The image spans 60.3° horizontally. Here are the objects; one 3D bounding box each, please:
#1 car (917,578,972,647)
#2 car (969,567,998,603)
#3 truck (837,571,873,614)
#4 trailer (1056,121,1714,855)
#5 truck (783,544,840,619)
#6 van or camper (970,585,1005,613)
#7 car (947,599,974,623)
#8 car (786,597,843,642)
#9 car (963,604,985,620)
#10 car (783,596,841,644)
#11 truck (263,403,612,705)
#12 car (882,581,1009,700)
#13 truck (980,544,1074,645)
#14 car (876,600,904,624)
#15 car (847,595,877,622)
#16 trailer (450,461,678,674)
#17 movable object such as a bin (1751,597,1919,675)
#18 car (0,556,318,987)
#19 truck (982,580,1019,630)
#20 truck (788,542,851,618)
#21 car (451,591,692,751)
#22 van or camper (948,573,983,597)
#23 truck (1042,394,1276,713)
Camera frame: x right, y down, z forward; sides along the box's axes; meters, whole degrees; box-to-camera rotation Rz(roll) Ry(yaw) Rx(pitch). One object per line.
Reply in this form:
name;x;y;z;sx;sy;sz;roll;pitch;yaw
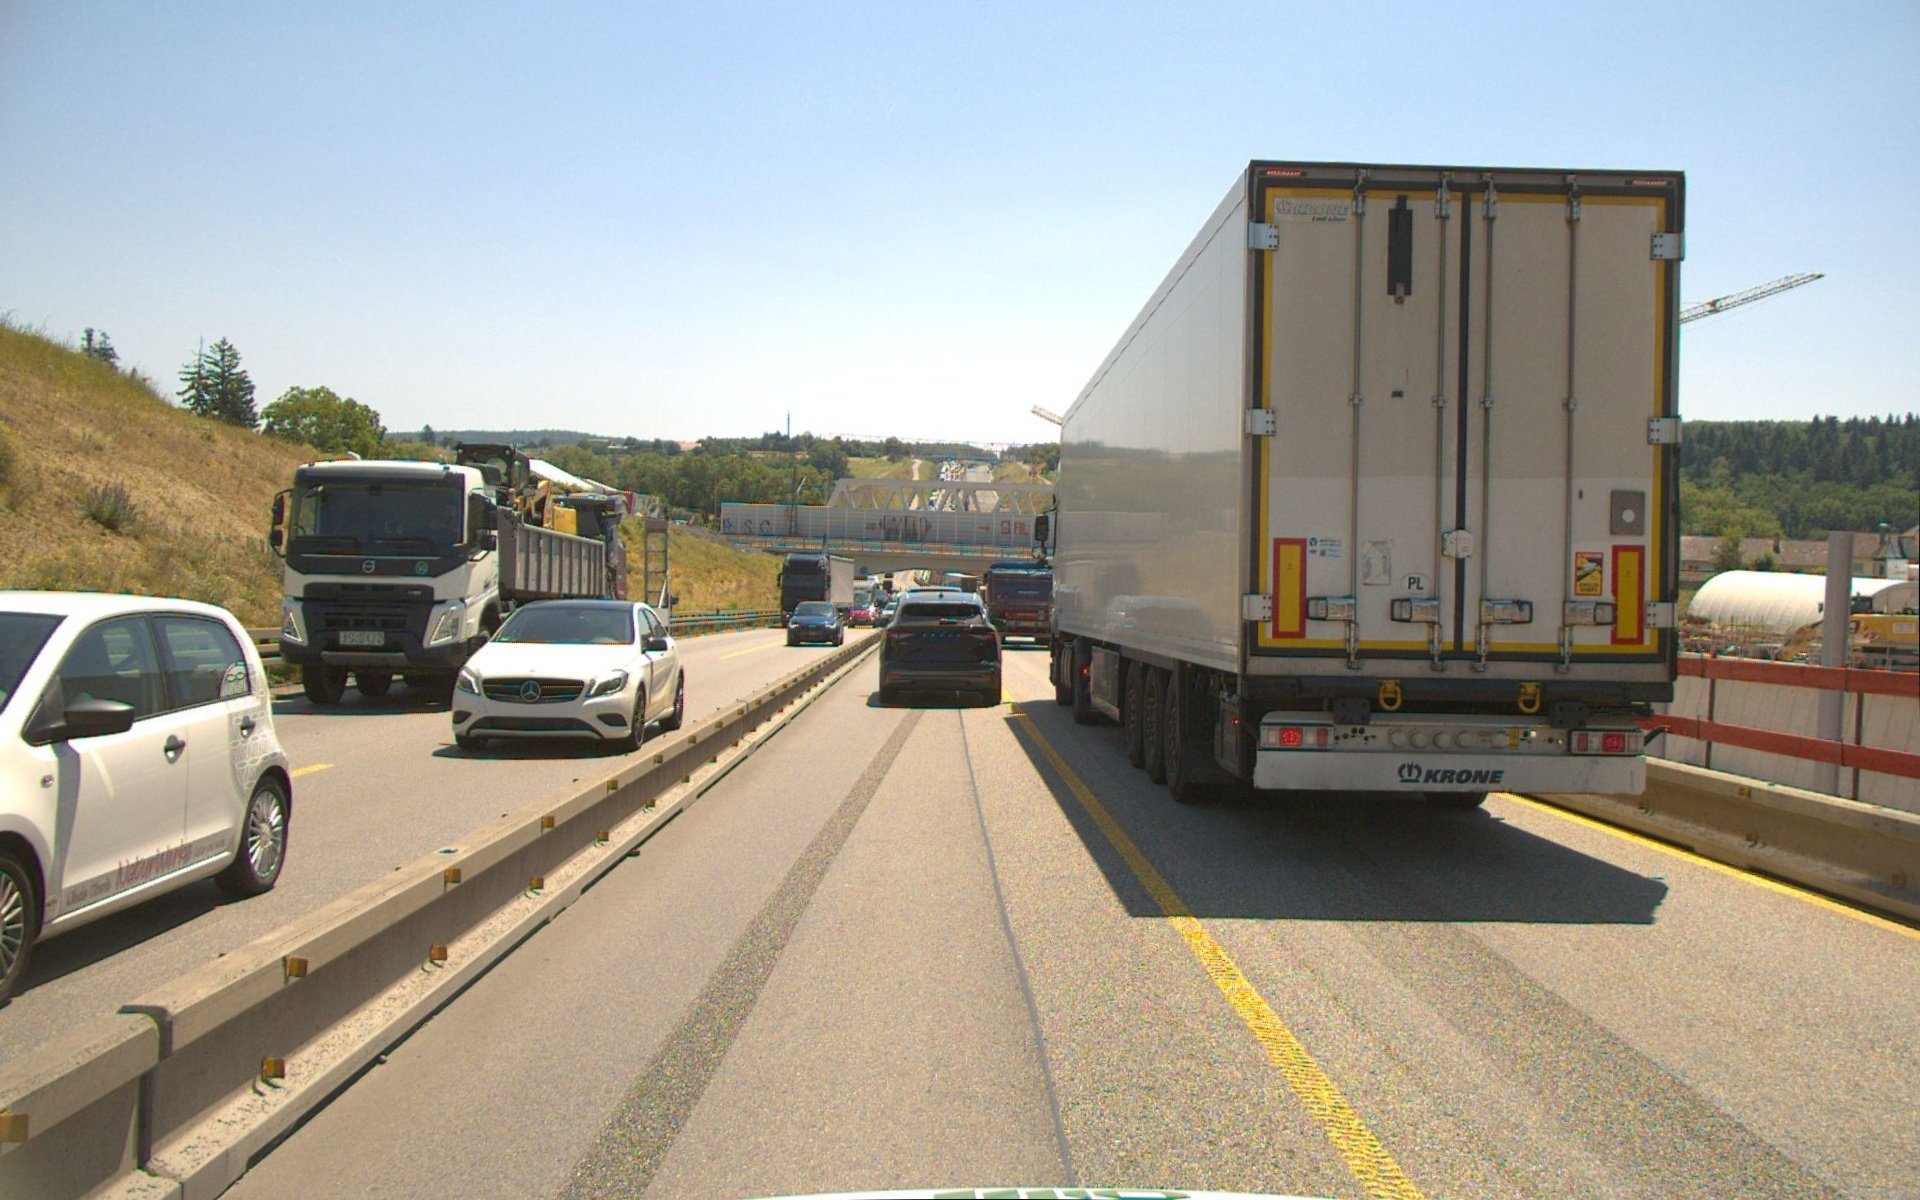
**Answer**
car;-0.412;0.332;45.700;1.444;1.826;3.298;0;0;1
car;1.550;-0.960;110.869;1.628;2.309;3.795;2;0;-2
truck;-7.397;-0.538;117.334;2.222;2.933;5.850;1;0;-1
trailer;2.829;-0.625;16.450;2.744;4.129;14.114;1;0;-1
truck;-8.137;-0.982;91.175;2.711;3.952;4.963;1;0;-1
van or camper;3.740;-0.170;221.165;3.859;3.479;8.412;1;0;6
car;0.027;0.655;98.967;1.461;1.354;3.243;2;0;-2
car;-4.755;0.630;54.345;1.655;1.427;3.685;0;0;-2
car;1.130;0.994;134.297;1.508;1.227;3.309;1;0;-3
car;-4.752;0.622;53.661;1.650;1.455;3.848;1;0;-2
truck;-7.587;-0.586;25.568;2.534;3.788;9.330;1;0;-1
car;-0.225;0.551;24.807;1.764;1.648;3.297;0;1;-1
truck;2.240;-0.185;59.621;2.756;3.190;12.836;1;0;0
car;-4.669;0.798;110.634;1.789;1.513;4.195;1;0;-1
car;-5.589;0.484;94.421;1.558;1.513;3.294;1;0;-1
trailer;-7.706;-0.572;33.516;2.534;3.700;9.076;1;0;-1
movable object such as a bin;36.359;1.380;68.238;2.828;2.960;9.478;1;0;0
car;-4.098;0.567;6.868;1.650;1.455;3.291;1;0;-2
truck;3.669;0.437;152.214;3.111;4.393;9.257;1;0;0
truck;-8.236;-1.097;98.476;2.711;4.159;13.803;1;0;-1
car;-3.886;0.648;17.207;1.650;1.455;4.120;1;0;-2
van or camper;0.773;-2.365;255.778;3.873;3.479;8.383;1;0;-11
truck;2.718;-0.603;24.026;2.720;4.129;4.903;1;0;-1
